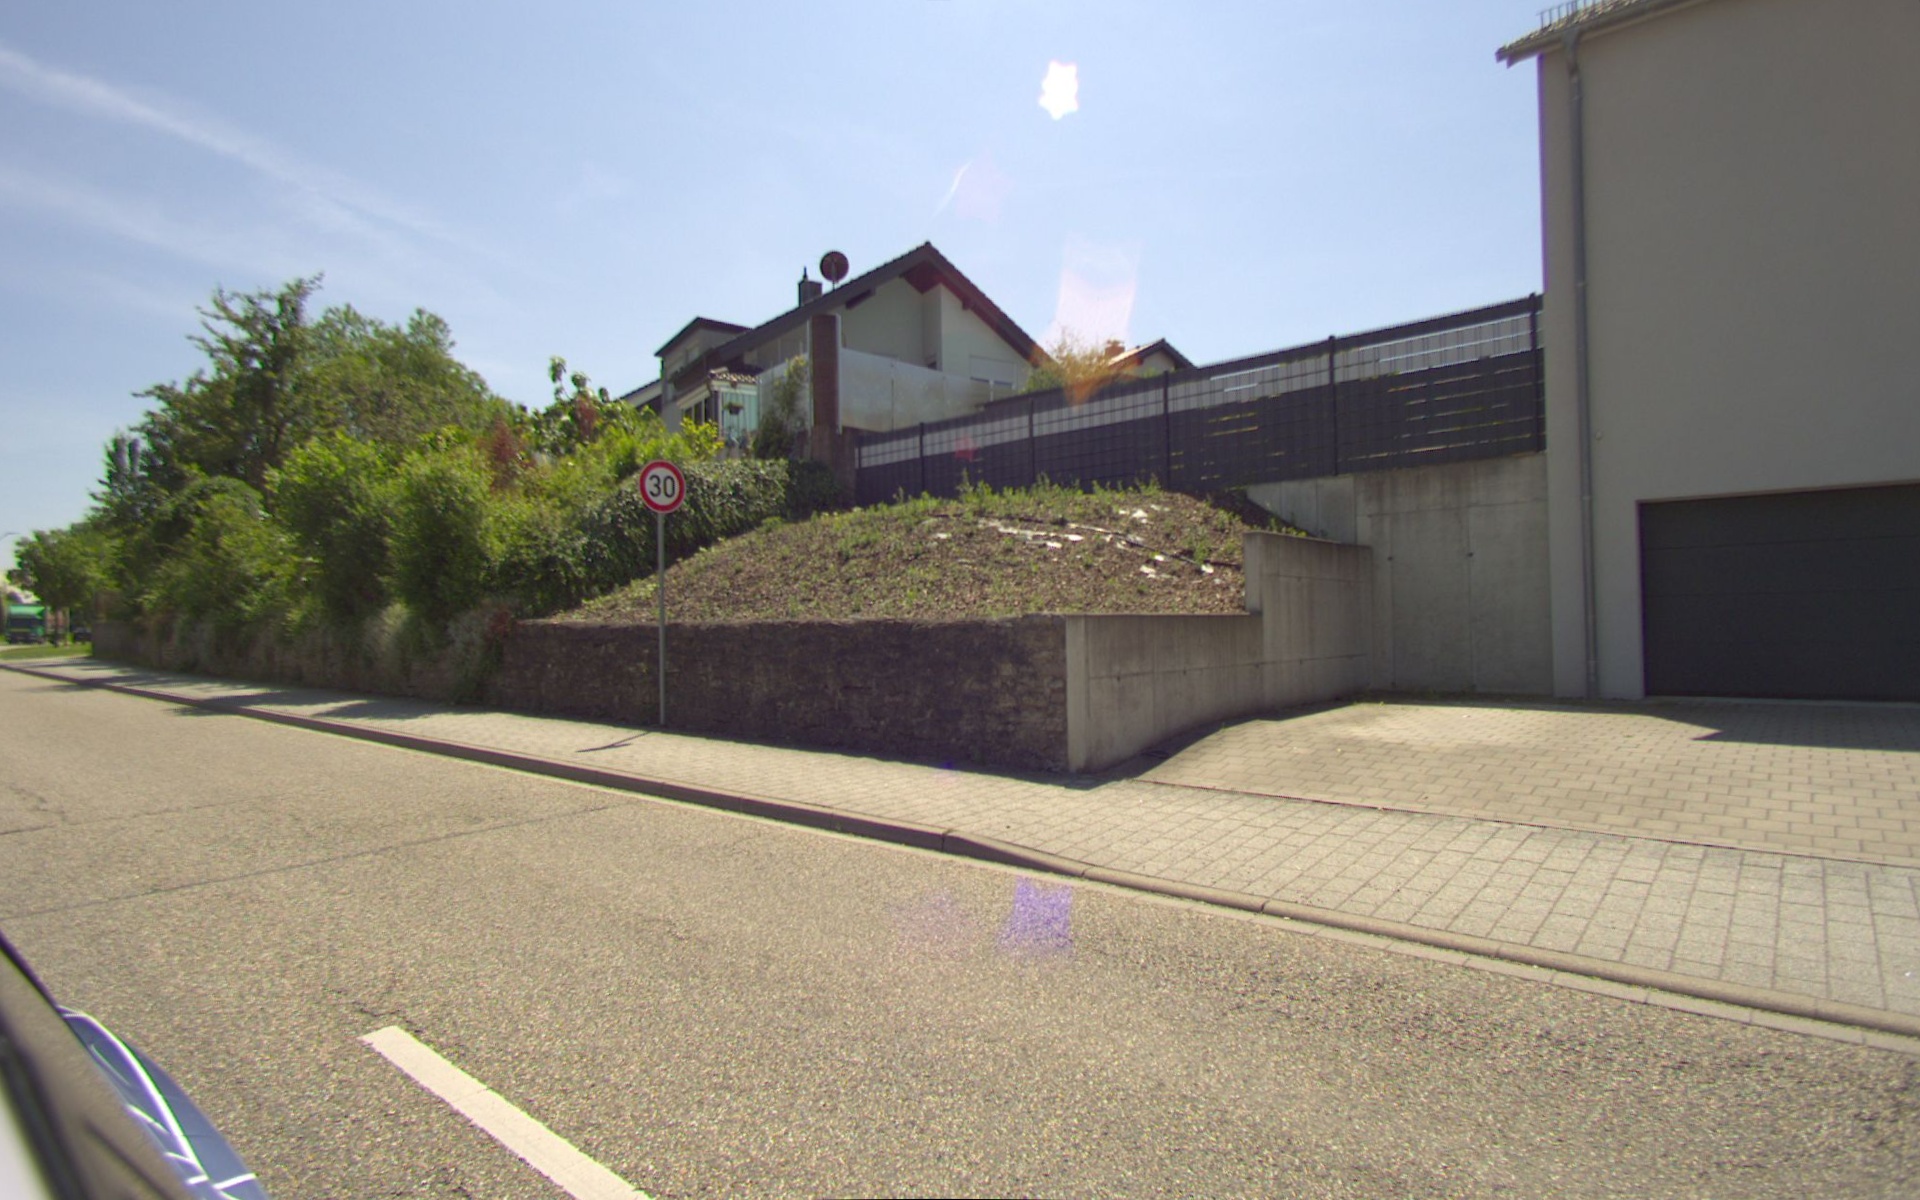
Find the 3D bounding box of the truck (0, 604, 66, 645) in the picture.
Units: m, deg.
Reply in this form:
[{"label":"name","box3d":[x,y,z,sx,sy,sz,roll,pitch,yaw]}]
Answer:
[{"label":"truck","box3d":[-80.108,2.219,87.238,2.806,3.258,8.188,3,-4,-30]}]
